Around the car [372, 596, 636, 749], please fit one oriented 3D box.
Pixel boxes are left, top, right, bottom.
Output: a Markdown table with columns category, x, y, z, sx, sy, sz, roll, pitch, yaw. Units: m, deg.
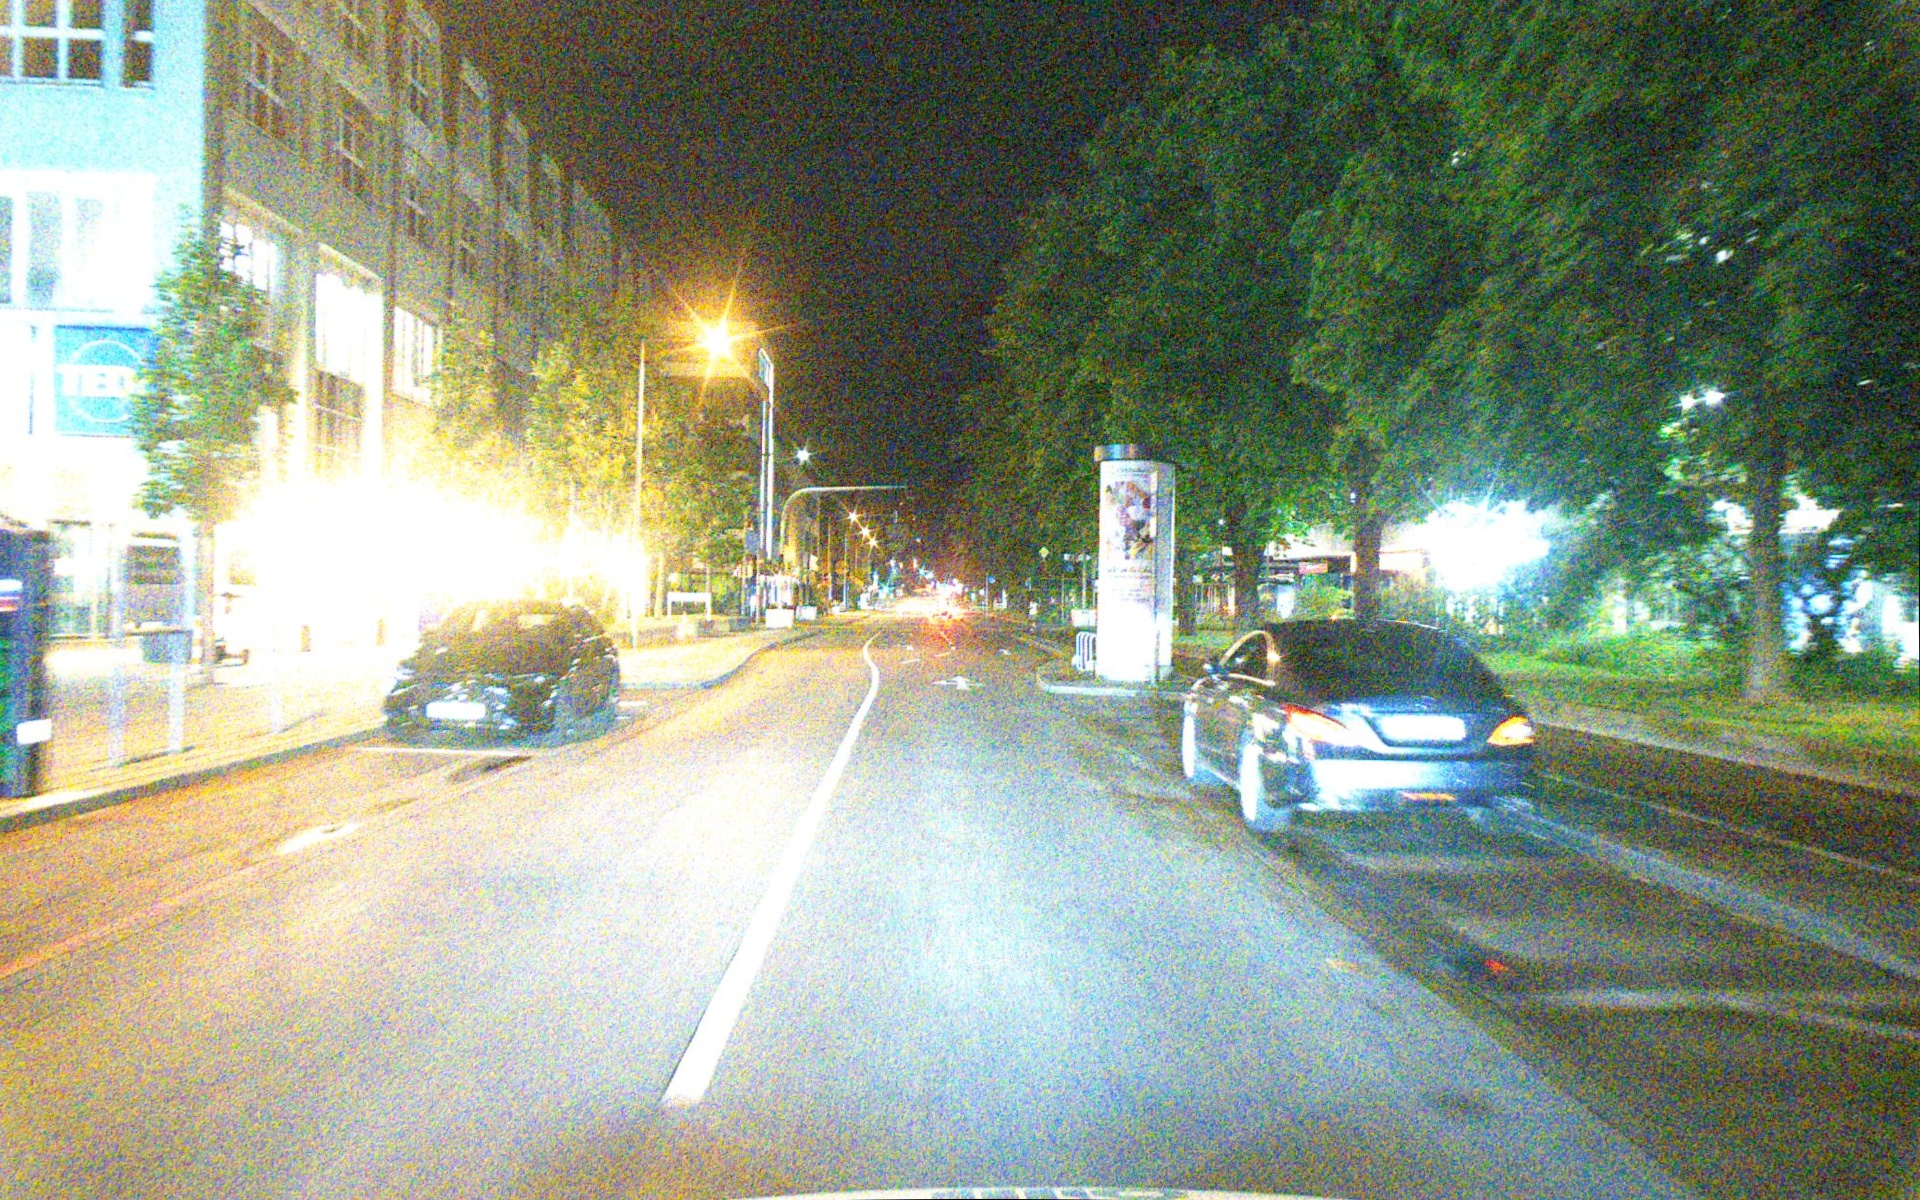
| category | x | y | z | sx | sy | sz | roll | pitch | yaw |
| --- | --- | --- | --- | --- | --- | --- | --- | --- | --- |
| car | -4.885 | 0.707 | 18.380 | 1.706 | 1.438 | 4.494 | 2 | 0 | -1 |

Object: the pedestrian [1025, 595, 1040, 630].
| category | x | y | z | sx | sy | sz | roll | pitch | yaw |
| --- | --- | --- | --- | --- | --- | --- | --- | --- | --- |
| pedestrian | 3.867 | 0.648 | 88.258 | 0.688 | 1.850 | 1.081 | 0 | 0 | -1 |

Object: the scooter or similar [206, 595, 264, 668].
| category | x | y | z | sx | sy | sz | roll | pitch | yaw |
| --- | --- | --- | --- | --- | --- | --- | --- | --- | --- |
| scooter or similar | -12.752 | 0.544 | 29.118 | 0.379 | 1.242 | 1.344 | 1 | 0 | 1 |

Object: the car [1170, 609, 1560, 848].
| category | x | y | z | sx | sy | sz | roll | pitch | yaw |
| --- | --- | --- | --- | --- | --- | --- | --- | --- | --- |
| car | 2.796 | 0.804 | 12.561 | 1.728 | 1.439 | 4.806 | 0 | 0 | -1 |

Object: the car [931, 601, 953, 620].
| category | x | y | z | sx | sy | sz | roll | pitch | yaw |
| --- | --- | --- | --- | --- | --- | --- | --- | --- | --- |
| car | -1.624 | 0.938 | 150.254 | 1.953 | 1.672 | 3.999 | 0 | 0 | -2 |
